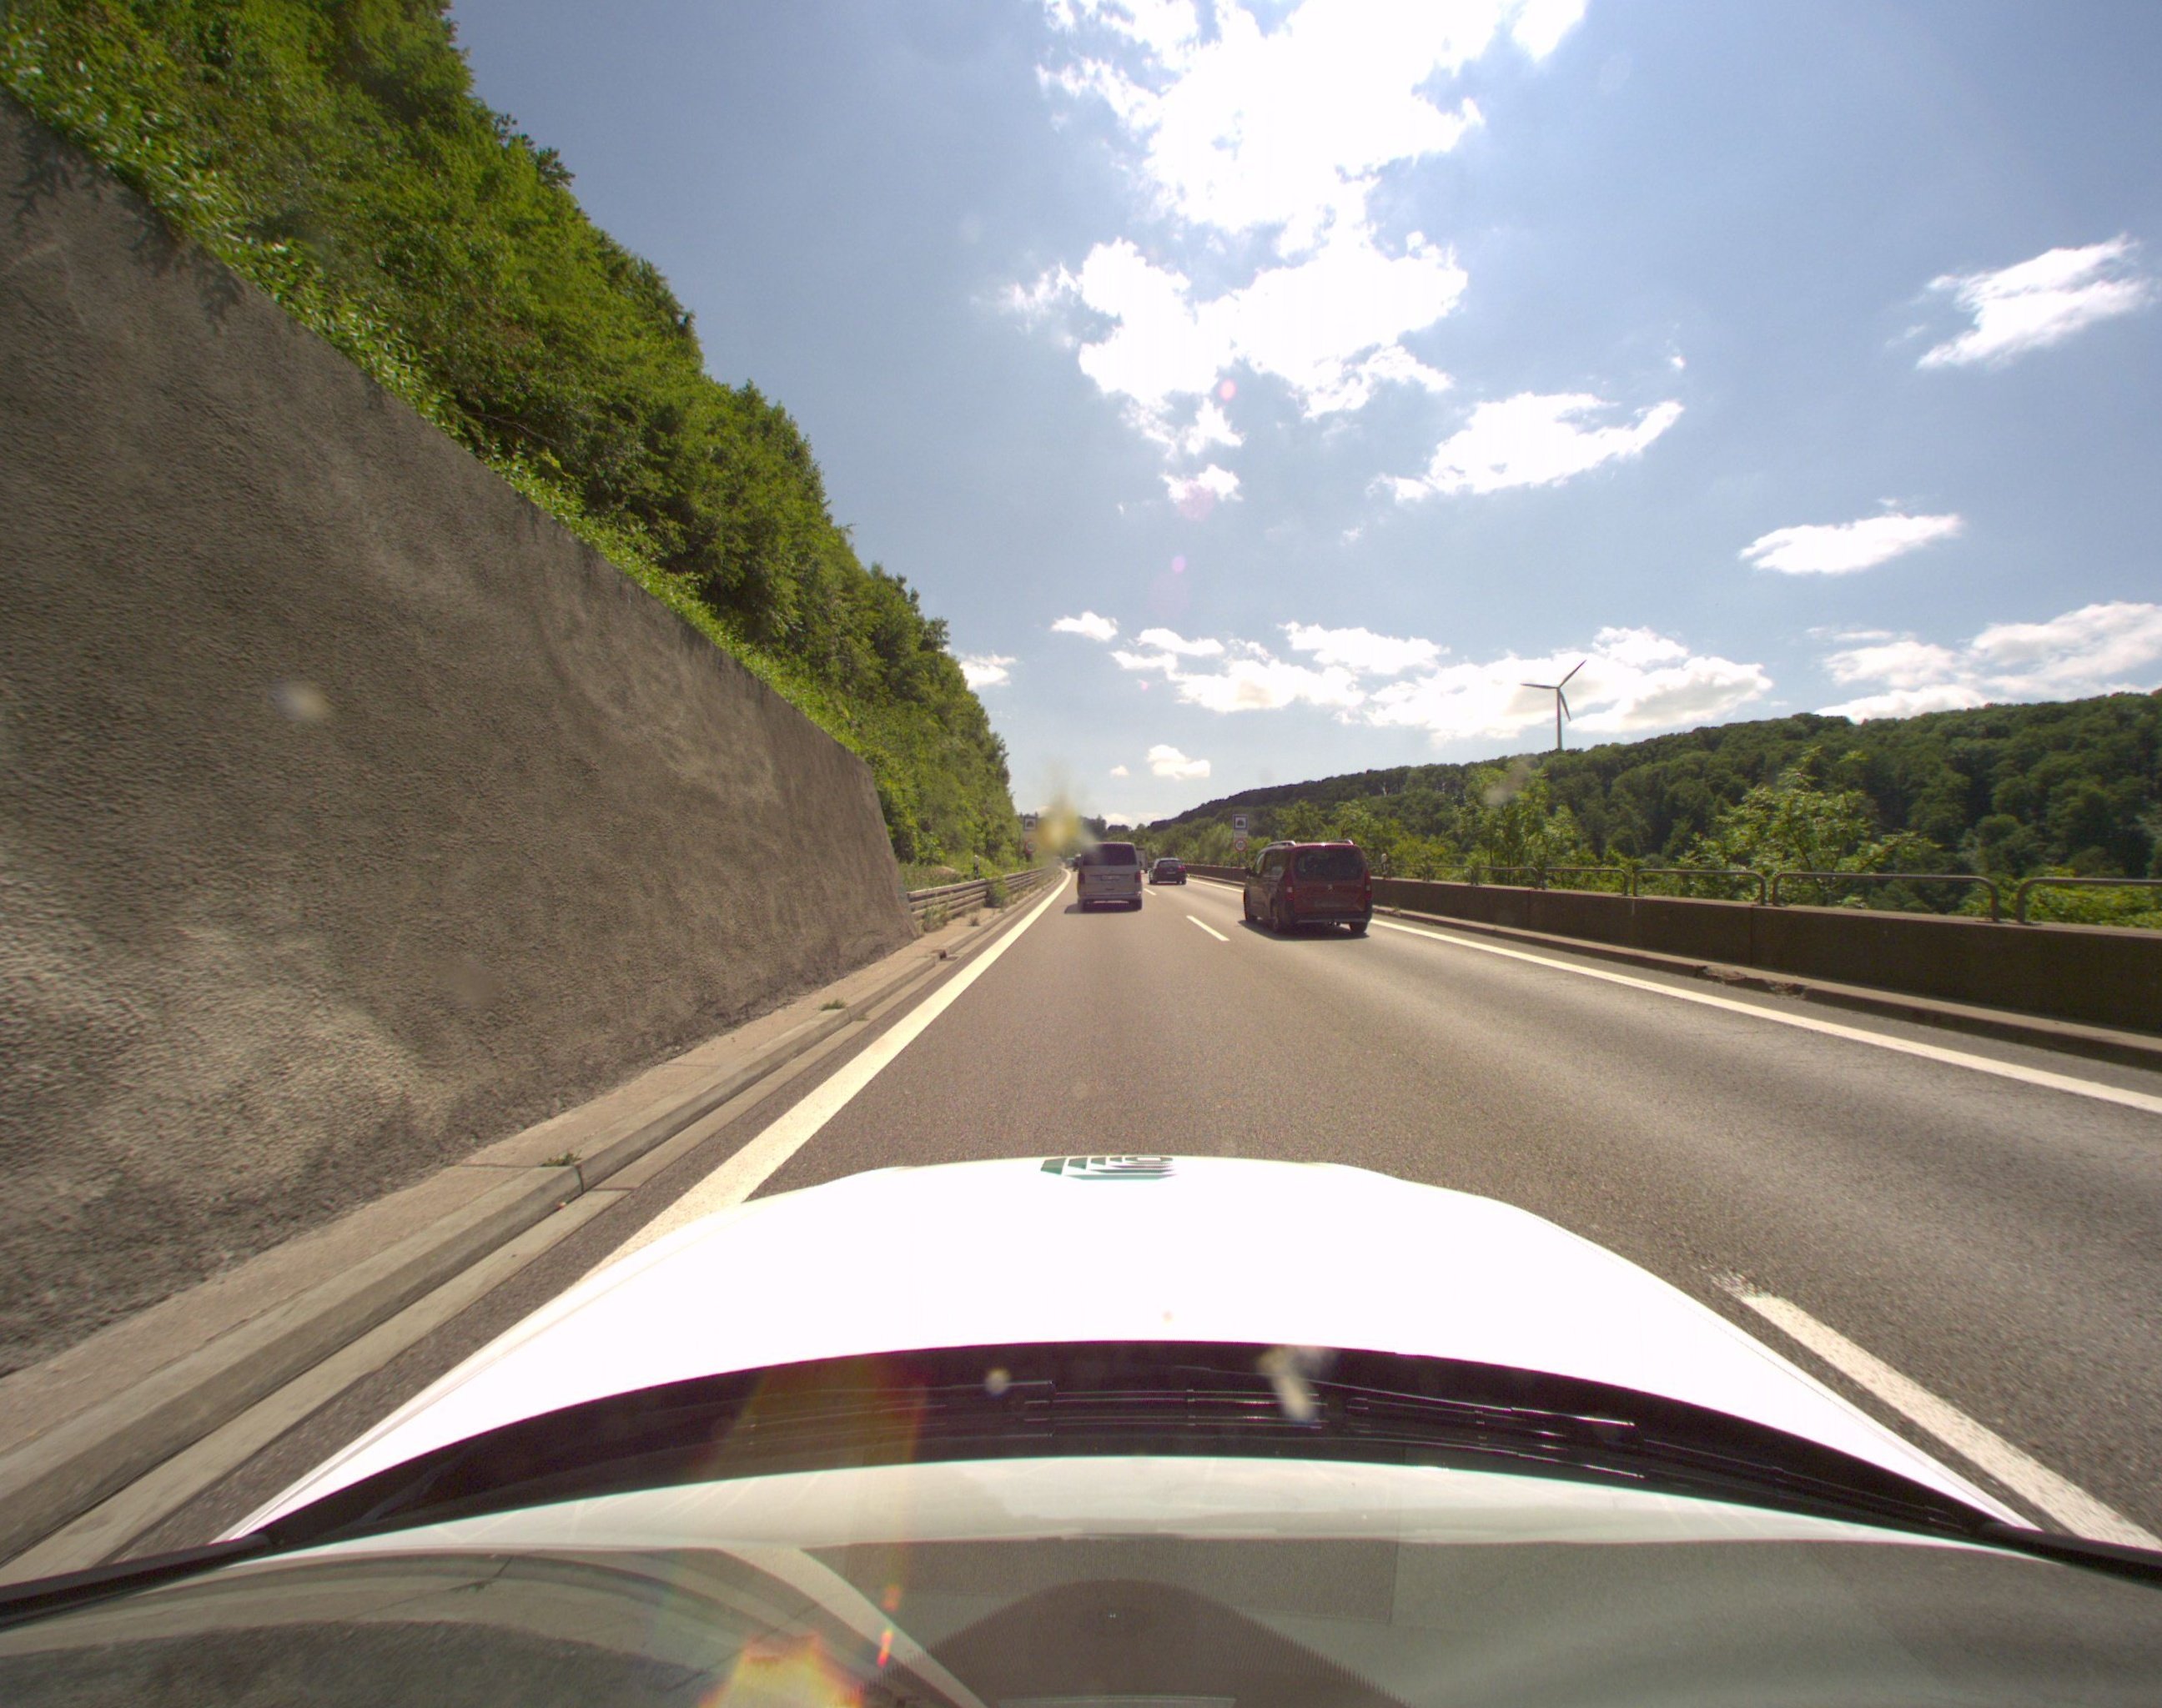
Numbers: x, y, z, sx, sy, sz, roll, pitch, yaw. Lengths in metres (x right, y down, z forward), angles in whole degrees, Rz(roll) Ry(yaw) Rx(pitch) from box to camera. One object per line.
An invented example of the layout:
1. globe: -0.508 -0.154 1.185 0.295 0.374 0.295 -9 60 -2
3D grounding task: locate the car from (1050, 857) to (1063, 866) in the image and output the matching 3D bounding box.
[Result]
1. car: -4.484 1.359 148.798 2.138 1.607 5.071 -2 -1 -3

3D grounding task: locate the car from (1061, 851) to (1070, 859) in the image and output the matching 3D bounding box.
1. car: -3.719 0.292 195.080 1.989 2.014 3.996 -1 0 -3

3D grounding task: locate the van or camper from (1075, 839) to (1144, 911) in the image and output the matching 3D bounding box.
1. van or camper: 0.777 0.603 24.859 1.870 1.949 4.292 -2 -1 -1

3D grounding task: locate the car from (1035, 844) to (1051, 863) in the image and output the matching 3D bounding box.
1. car: -9.996 -0.109 211.426 4.034 4.871 10.097 -1 0 -3

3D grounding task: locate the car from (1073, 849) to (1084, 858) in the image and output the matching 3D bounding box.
1. car: -0.578 -0.176 180.065 1.991 2.014 3.992 -1 0 -6

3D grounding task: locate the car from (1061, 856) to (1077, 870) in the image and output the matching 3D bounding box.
1. car: -1.701 1.198 113.743 1.989 1.915 3.994 -1 0 -4

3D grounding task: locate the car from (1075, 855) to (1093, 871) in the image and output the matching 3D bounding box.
1. car: 0.337 1.040 93.554 1.987 1.817 3.999 -1 0 -1

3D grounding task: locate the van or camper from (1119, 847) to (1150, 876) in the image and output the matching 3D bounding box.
1. van or camper: 4.913 0.677 75.594 2.258 2.551 4.732 -2 -1 -2

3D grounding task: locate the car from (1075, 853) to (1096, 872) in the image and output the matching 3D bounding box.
1. car: 0.424 0.796 78.365 1.987 1.817 3.999 -1 0 -1

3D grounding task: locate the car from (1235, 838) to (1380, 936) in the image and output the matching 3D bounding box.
1. car: 4.680 0.652 17.570 1.827 1.784 4.676 -1 -1 1

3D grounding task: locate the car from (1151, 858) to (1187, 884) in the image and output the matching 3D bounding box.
1. car: 4.827 0.927 45.274 1.761 1.376 3.595 -1 0 2
